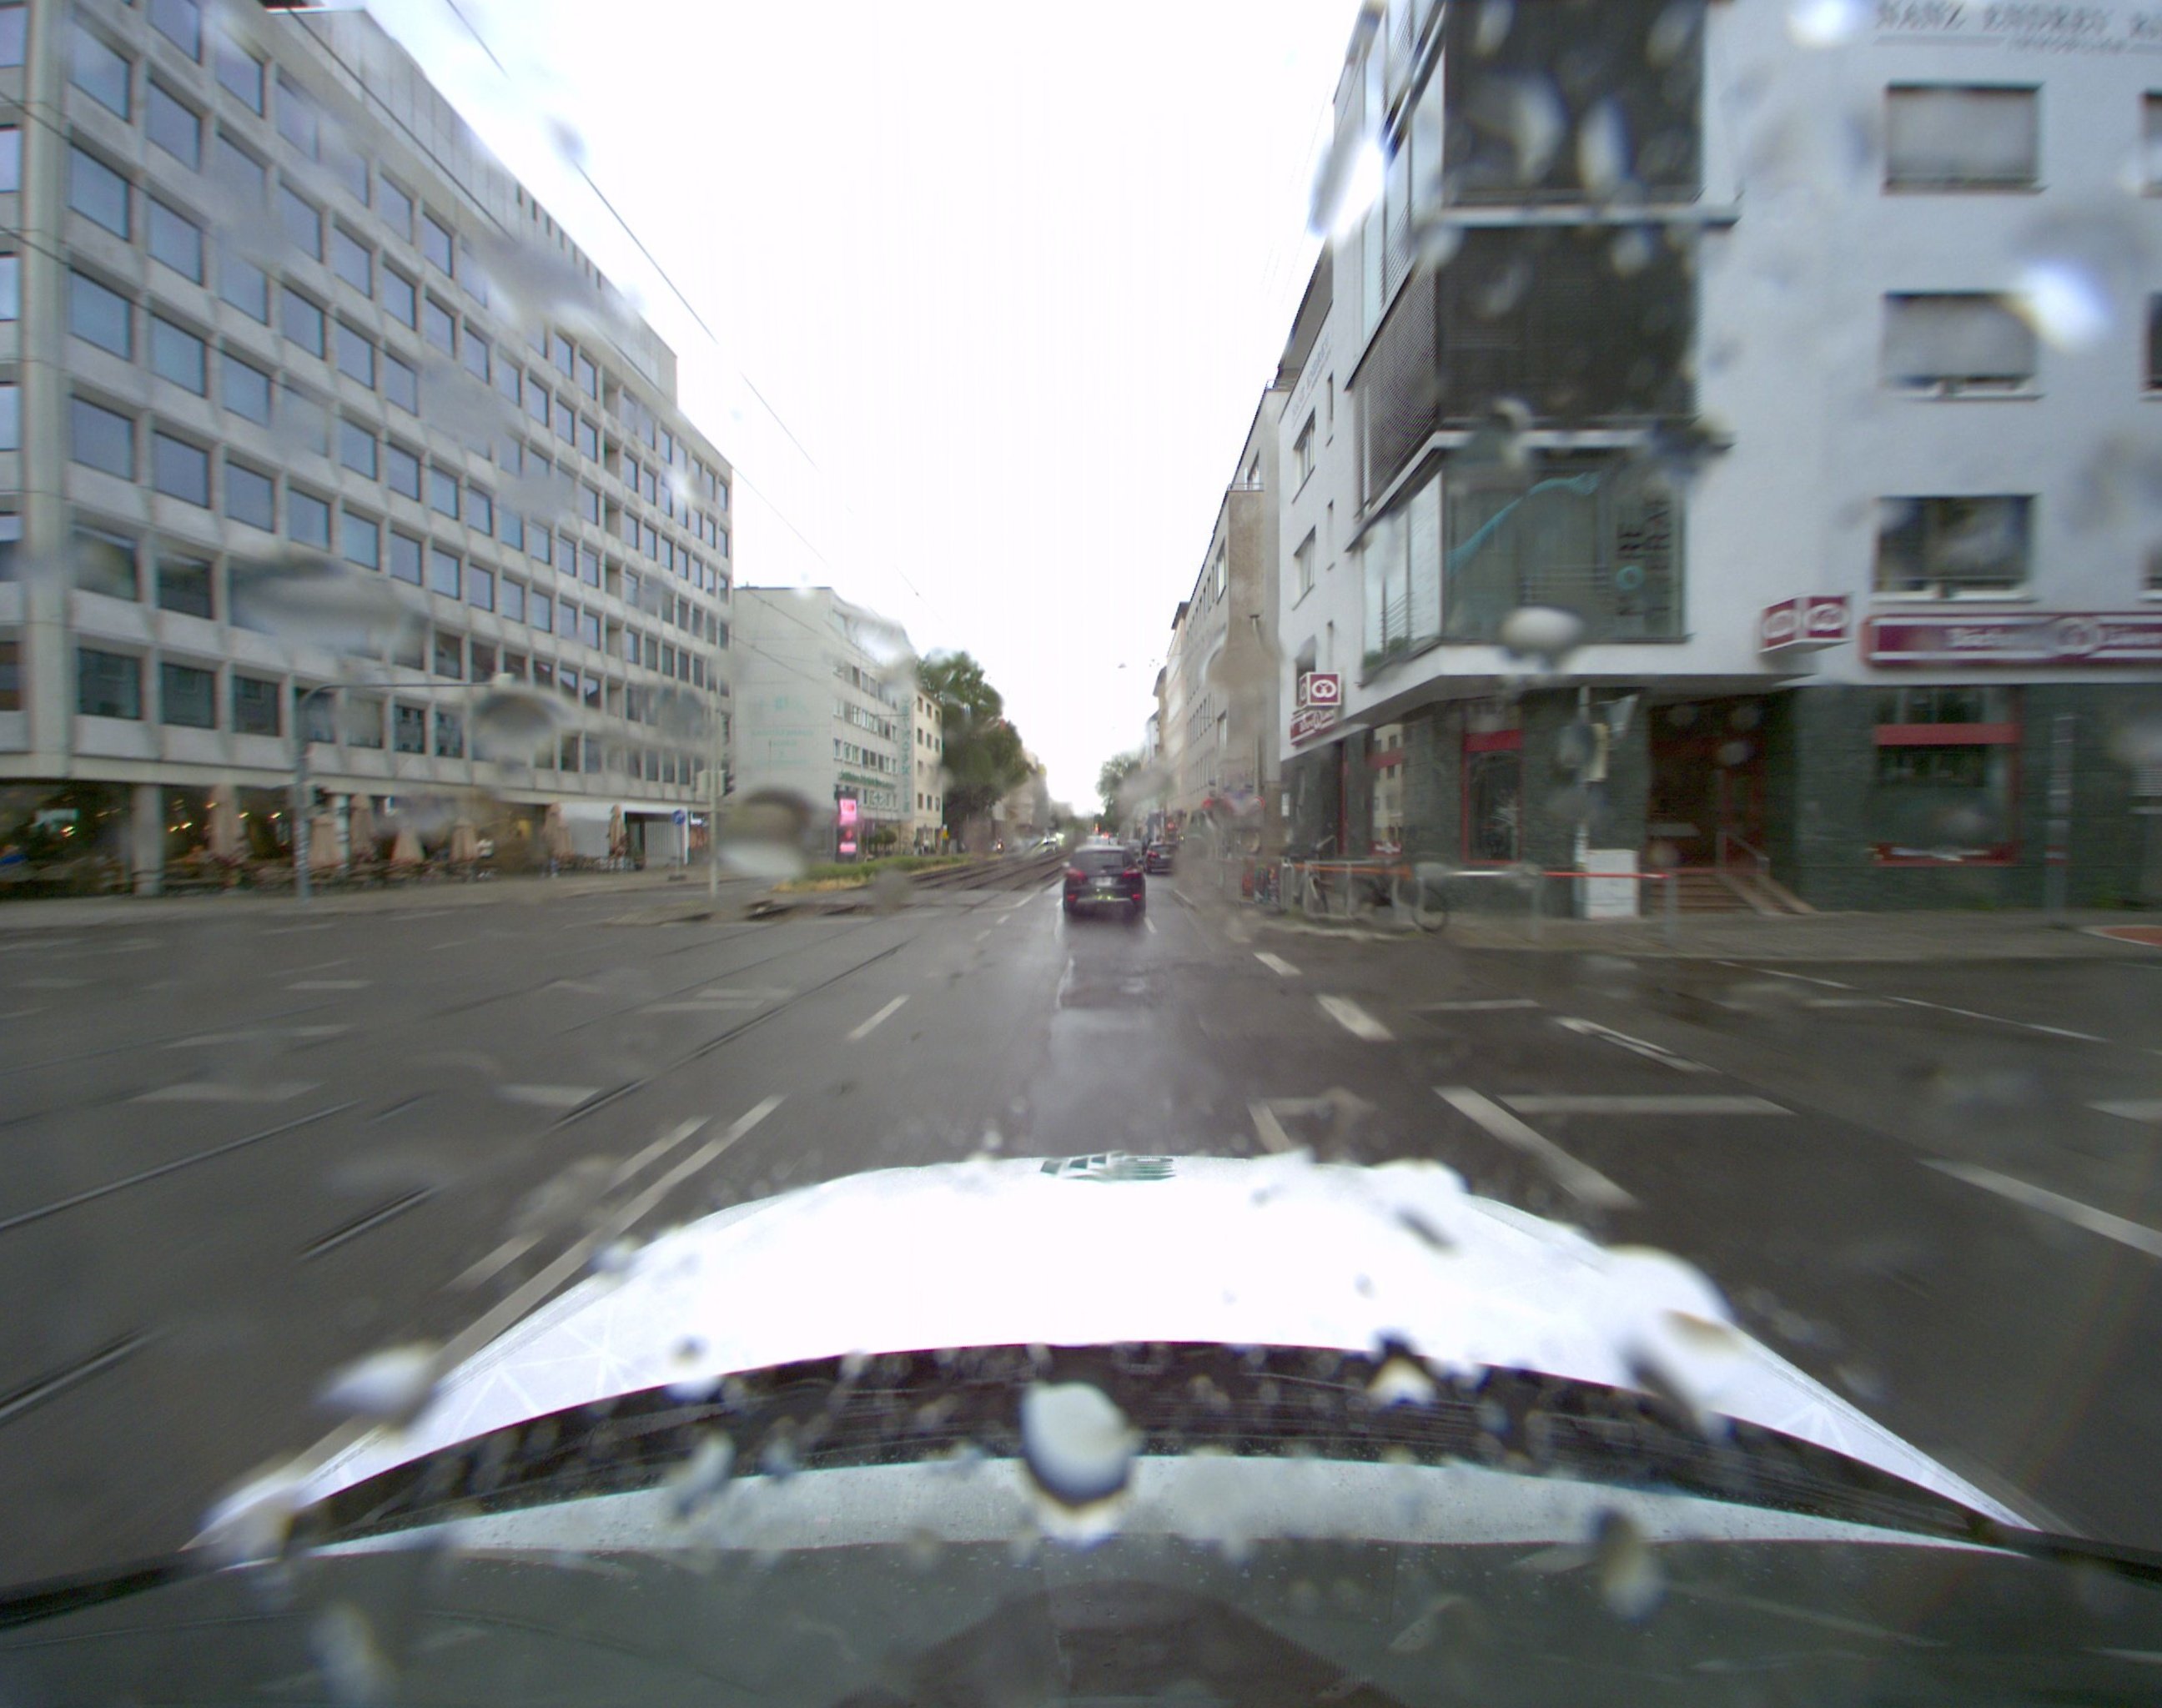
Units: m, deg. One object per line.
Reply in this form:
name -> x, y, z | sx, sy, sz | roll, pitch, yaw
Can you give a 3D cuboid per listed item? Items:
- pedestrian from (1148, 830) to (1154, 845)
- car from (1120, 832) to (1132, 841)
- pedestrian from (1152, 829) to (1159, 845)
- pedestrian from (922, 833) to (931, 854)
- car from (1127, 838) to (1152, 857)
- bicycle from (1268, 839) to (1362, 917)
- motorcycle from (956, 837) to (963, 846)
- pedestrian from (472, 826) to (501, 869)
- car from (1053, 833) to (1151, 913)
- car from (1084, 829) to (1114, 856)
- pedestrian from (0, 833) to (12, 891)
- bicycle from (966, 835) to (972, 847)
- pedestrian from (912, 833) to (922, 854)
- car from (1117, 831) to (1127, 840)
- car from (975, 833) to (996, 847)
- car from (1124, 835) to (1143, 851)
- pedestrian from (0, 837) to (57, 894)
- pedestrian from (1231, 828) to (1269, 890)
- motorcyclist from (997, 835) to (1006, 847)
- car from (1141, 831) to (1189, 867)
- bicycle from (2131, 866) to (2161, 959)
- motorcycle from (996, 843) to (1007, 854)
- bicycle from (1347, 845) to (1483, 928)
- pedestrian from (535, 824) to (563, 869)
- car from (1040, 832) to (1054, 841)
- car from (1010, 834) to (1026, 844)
pedestrian -> 8.346, -1.974, 97.664 | 0.659, 1.851, 0.821 | 0, 2, 1
car -> 7.361, -2.880, 133.620 | 1.732, 1.488, 4.002 | 0, 2, 1
pedestrian -> 8.976, -2.048, 97.812 | 0.733, 2.013, 0.821 | 0, 2, 1
pedestrian -> -13.975, -0.969, 73.805 | 0.676, 1.895, 0.743 | 0, 1, 1
car -> 5.030, -0.583, 70.345 | 1.986, 1.593, 4.575 | -1, 1, 2
bicycle -> 4.066, 0.373, 14.319 | 0.499, 1.258, 1.942 | 0, 1, -23
motorcycle -> -15.101, -1.539, 101.212 | 0.637, 1.032, 2.120 | 0, 2, 0
pedestrian -> -24.341, -0.275, 33.375 | 0.563, 1.748, 0.844 | 0, 1, -3
car -> 0.518, 0.358, 18.774 | 1.986, 1.593, 4.274 | -1, 1, 2
car -> 1.293, -0.822, 57.488 | 1.986, 1.816, 4.274 | -1, 1, 2
pedestrian -> -29.173, 0.222, 21.391 | 0.958, 1.532, 0.897 | 0, 2, 2
bicycle -> -12.386, -1.444, 90.268 | 0.590, 1.226, 2.399 | 0, 1, -5
pedestrian -> -14.863, -0.966, 73.861 | 0.724, 1.895, 0.983 | 0, 1, 2
car -> 6.996, -3.142, 138.369 | 1.637, 1.515, 4.040 | 0, 2, 1
car -> -10.866, -1.645, 93.072 | 1.737, 1.468, 4.222 | -2, 2, 2
car -> 5.217, -1.140, 81.786 | 1.740, 1.523, 4.357 | 0, 2, 1
pedestrian -> -29.183, 0.299, 22.350 | 0.891, 1.532, 0.965 | 0, 2, 0
pedestrian -> 4.395, 0.117, 21.206 | 0.661, 1.582, 0.774 | -1, 1, -20
motorcyclist -> -7.874, -1.288, 80.702 | 0.738, 1.217, 0.971 | 0, 1, 3
car -> 3.931, -0.252, 38.880 | 1.986, 1.593, 4.274 | -1, 1, 2
bicycle -> 12.949, 0.642, 8.937 | 1.919, 1.010, 0.755 | -1, 1, -1
motorcycle -> -7.874, -0.540, 80.807 | 0.739, 1.059, 1.933 | 0, 1, 4
bicycle -> 5.103, 0.451, 12.559 | 0.580, 1.157, 1.936 | -1, 1, -35
pedestrian -> -21.586, -0.307, 33.048 | 0.563, 1.822, 0.844 | 0, 1, -3
car -> -5.808, -2.969, 138.582 | 1.986, 1.519, 4.446 | 0, 0, 2
car -> -9.791, -2.397, 126.361 | 1.986, 1.519, 4.438 | 0, 2, 2
